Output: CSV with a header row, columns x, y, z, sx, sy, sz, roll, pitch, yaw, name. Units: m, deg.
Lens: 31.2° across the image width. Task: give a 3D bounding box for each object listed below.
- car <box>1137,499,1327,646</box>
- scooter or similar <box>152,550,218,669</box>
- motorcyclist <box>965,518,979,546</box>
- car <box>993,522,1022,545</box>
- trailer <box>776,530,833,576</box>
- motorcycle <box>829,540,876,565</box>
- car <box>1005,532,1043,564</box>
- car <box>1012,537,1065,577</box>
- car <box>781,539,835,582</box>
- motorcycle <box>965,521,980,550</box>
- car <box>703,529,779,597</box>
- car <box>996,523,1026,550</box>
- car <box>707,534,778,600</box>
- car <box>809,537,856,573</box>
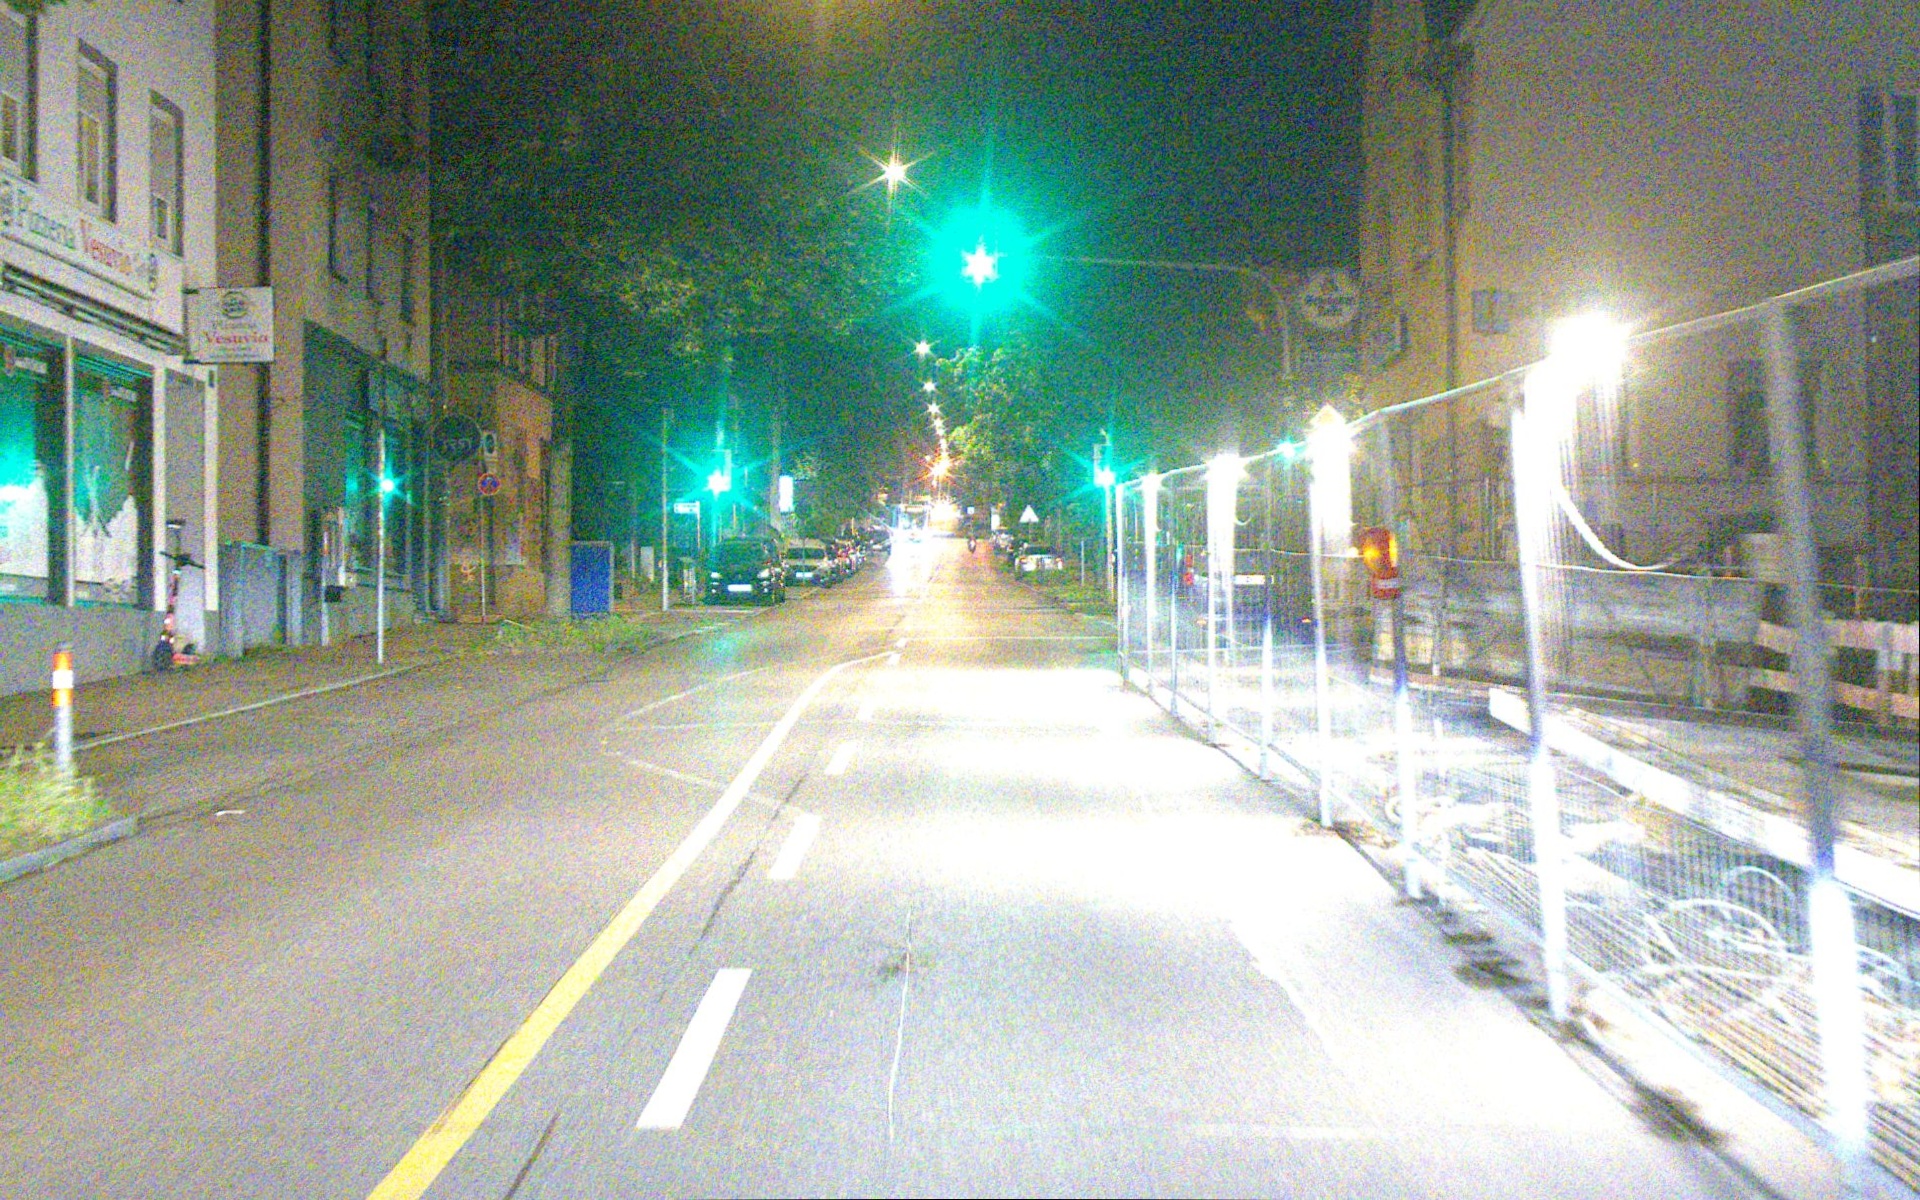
x,y,z,sx,sy,sz,roll,pitch,yaw,name
3.501,-0.383,45.083,1.911,1.820,4.901,0,1,-2,car
-8.113,0.088,36.018,0.331,1.221,1.335,1,0,2,scooter or similar
0.775,-4.269,215.847,0.848,1.746,0.805,1,0,0,motorcyclist
3.217,-4.522,233.291,1.868,1.521,4.150,-2,2,0,car
-5.594,-1.686,123.958,1.638,1.634,3.439,1,1,5,trailer
-5.085,-2.242,162.220,2.206,1.127,0.714,1,2,33,motorcycle
3.177,-2.618,171.137,1.763,1.471,4.080,-2,2,0,car
3.015,-1.651,132.733,1.845,1.412,4.645,-3,1,-1,car
-5.253,-1.380,119.294,1.814,1.479,4.348,0,1,-1,car
0.775,-4.056,215.889,0.931,1.746,2.625,1,1,0,motorcycle
-5.559,-0.964,87.492,1.848,1.644,4.672,1,2,-3,car
3.254,-4.073,220.137,1.812,1.588,4.274,-2,2,0,car
-5.170,-0.787,81.760,1.647,1.509,3.703,1,1,-4,car
-5.314,-1.879,143.680,1.863,1.486,4.281,1,1,-1,car
